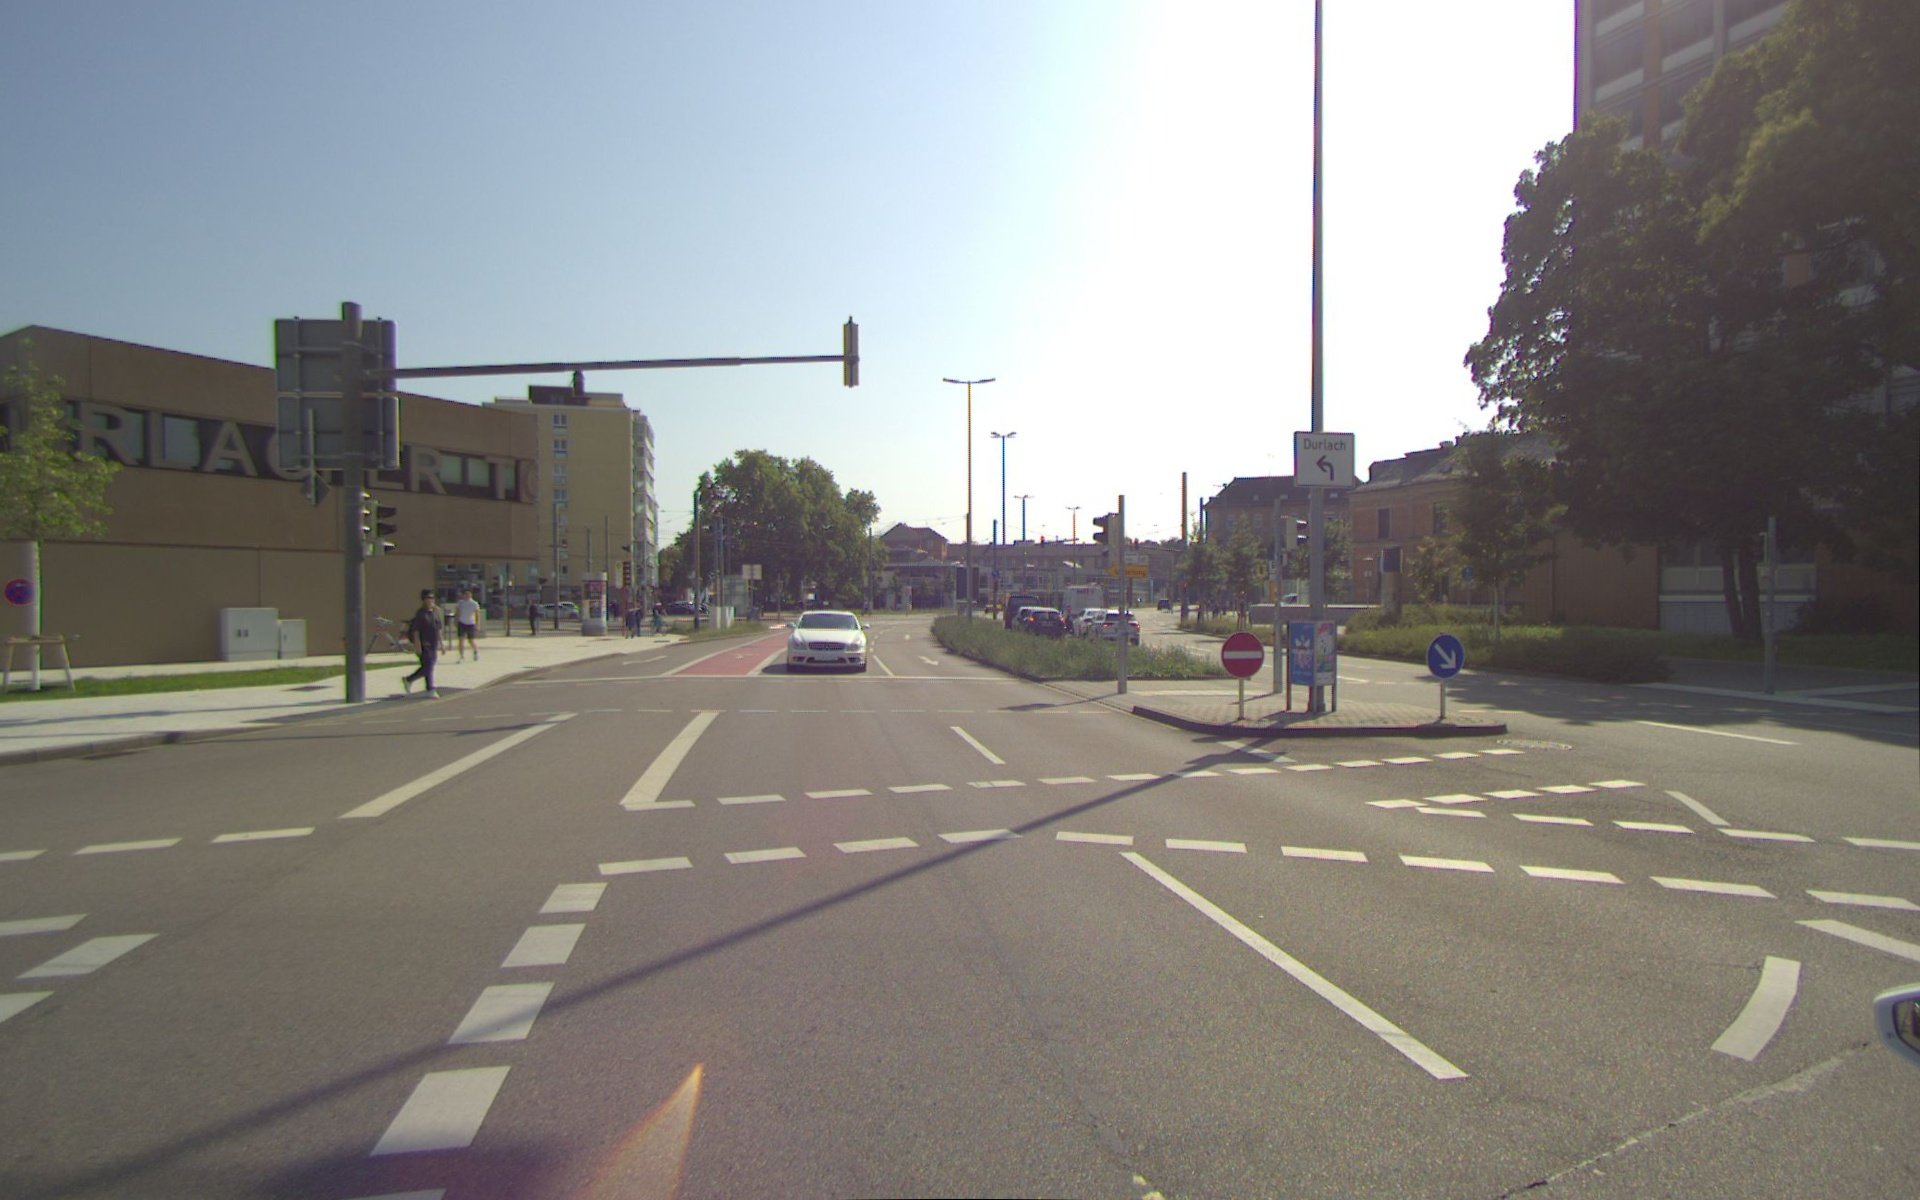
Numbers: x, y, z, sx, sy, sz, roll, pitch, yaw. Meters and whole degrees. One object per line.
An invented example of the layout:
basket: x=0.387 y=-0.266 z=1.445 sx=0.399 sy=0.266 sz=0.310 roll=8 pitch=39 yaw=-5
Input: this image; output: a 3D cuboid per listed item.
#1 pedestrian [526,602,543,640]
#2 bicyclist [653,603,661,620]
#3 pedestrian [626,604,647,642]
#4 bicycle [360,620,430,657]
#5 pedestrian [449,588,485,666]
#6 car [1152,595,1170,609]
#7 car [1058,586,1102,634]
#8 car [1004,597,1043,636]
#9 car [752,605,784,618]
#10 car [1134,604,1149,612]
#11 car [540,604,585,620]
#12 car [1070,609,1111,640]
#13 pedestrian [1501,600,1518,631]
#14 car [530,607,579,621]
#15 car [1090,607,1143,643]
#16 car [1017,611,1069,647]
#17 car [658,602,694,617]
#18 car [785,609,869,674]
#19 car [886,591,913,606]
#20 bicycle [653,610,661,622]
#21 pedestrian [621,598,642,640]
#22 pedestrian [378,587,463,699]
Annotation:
pedestrian: x=-18.398 y=0.898 z=43.444 sx=0.489 sy=1.601 sz=0.508 roll=1 pitch=3 yaw=2
bicyclist: x=-26.984 y=1.036 z=89.420 sx=0.716 sy=1.453 sz=0.687 roll=0 pitch=0 yaw=-17
pedestrian: x=-15.866 y=1.132 z=49.232 sx=0.861 sy=1.802 sz=0.846 roll=0 pitch=3 yaw=-10
bicycle: x=-16.051 y=1.082 z=28.561 sx=0.649 sy=0.968 sz=1.609 roll=2 pitch=1 yaw=30
pedestrian: x=-12.031 y=0.646 z=24.531 sx=0.684 sy=1.857 sz=0.568 roll=0 pitch=0 yaw=-17
car: x=31.474 y=0.315 z=157.199 sx=2.372 sy=2.040 sz=4.780 roll=0 pitch=0 yaw=15
car: x=6.707 y=0.590 z=56.513 sx=2.152 sy=2.583 sz=4.685 roll=0 pitch=-1 yaw=3
car: x=3.440 y=0.892 z=55.308 sx=1.990 sy=2.034 sz=4.684 roll=0 pitch=0 yaw=2
car: x=-24.563 y=1.507 z=128.328 sx=3.927 sy=1.639 sz=1.810 roll=0 pitch=0 yaw=-9
car: x=33.811 y=1.477 z=187.244 sx=1.962 sy=1.461 sz=3.997 roll=0 pitch=0 yaw=24
car: x=-36.750 y=1.094 z=92.993 sx=3.684 sy=1.412 sz=1.583 roll=0 pitch=0 yaw=-13
car: x=6.186 y=1.157 z=47.801 sx=1.464 sy=1.421 sz=3.943 roll=0 pitch=-1 yaw=1
pedestrian: x=29.479 y=0.835 z=53.905 sx=0.605 sy=1.650 sz=0.533 roll=0 pitch=0 yaw=-9
car: x=-36.332 y=1.260 z=90.050 sx=3.772 sy=1.195 sz=1.574 roll=0 pitch=-2 yaw=-10
car: x=6.396 y=0.997 z=41.291 sx=1.657 sy=1.406 sz=3.635 roll=0 pitch=-1 yaw=1
car: x=3.416 y=1.182 z=41.923 sx=1.674 sy=1.386 sz=3.962 roll=0 pitch=0 yaw=-3
car: x=-32.886 y=1.098 z=116.388 sx=3.930 sy=1.579 sz=1.864 roll=0 pitch=2 yaw=-12
car: x=-3.255 y=0.954 z=24.666 sx=1.814 sy=1.380 sz=4.813 roll=1 pitch=0 yaw=-8
car: x=-9.163 y=-0.216 z=151.923 sx=3.922 sy=2.041 sz=1.999 roll=1 pitch=2 yaw=-2
bicycle: x=-26.953 y=1.416 z=89.330 sx=0.718 sy=0.997 sz=1.726 roll=0 pitch=0 yaw=-17
pedestrian: x=-14.091 y=0.801 z=43.073 sx=0.671 sy=1.783 sz=0.870 roll=0 pitch=0 yaw=-33
pedestrian: x=-9.248 y=0.724 z=17.259 sx=1.062 sy=1.864 sz=0.729 roll=0 pitch=0 yaw=-5
